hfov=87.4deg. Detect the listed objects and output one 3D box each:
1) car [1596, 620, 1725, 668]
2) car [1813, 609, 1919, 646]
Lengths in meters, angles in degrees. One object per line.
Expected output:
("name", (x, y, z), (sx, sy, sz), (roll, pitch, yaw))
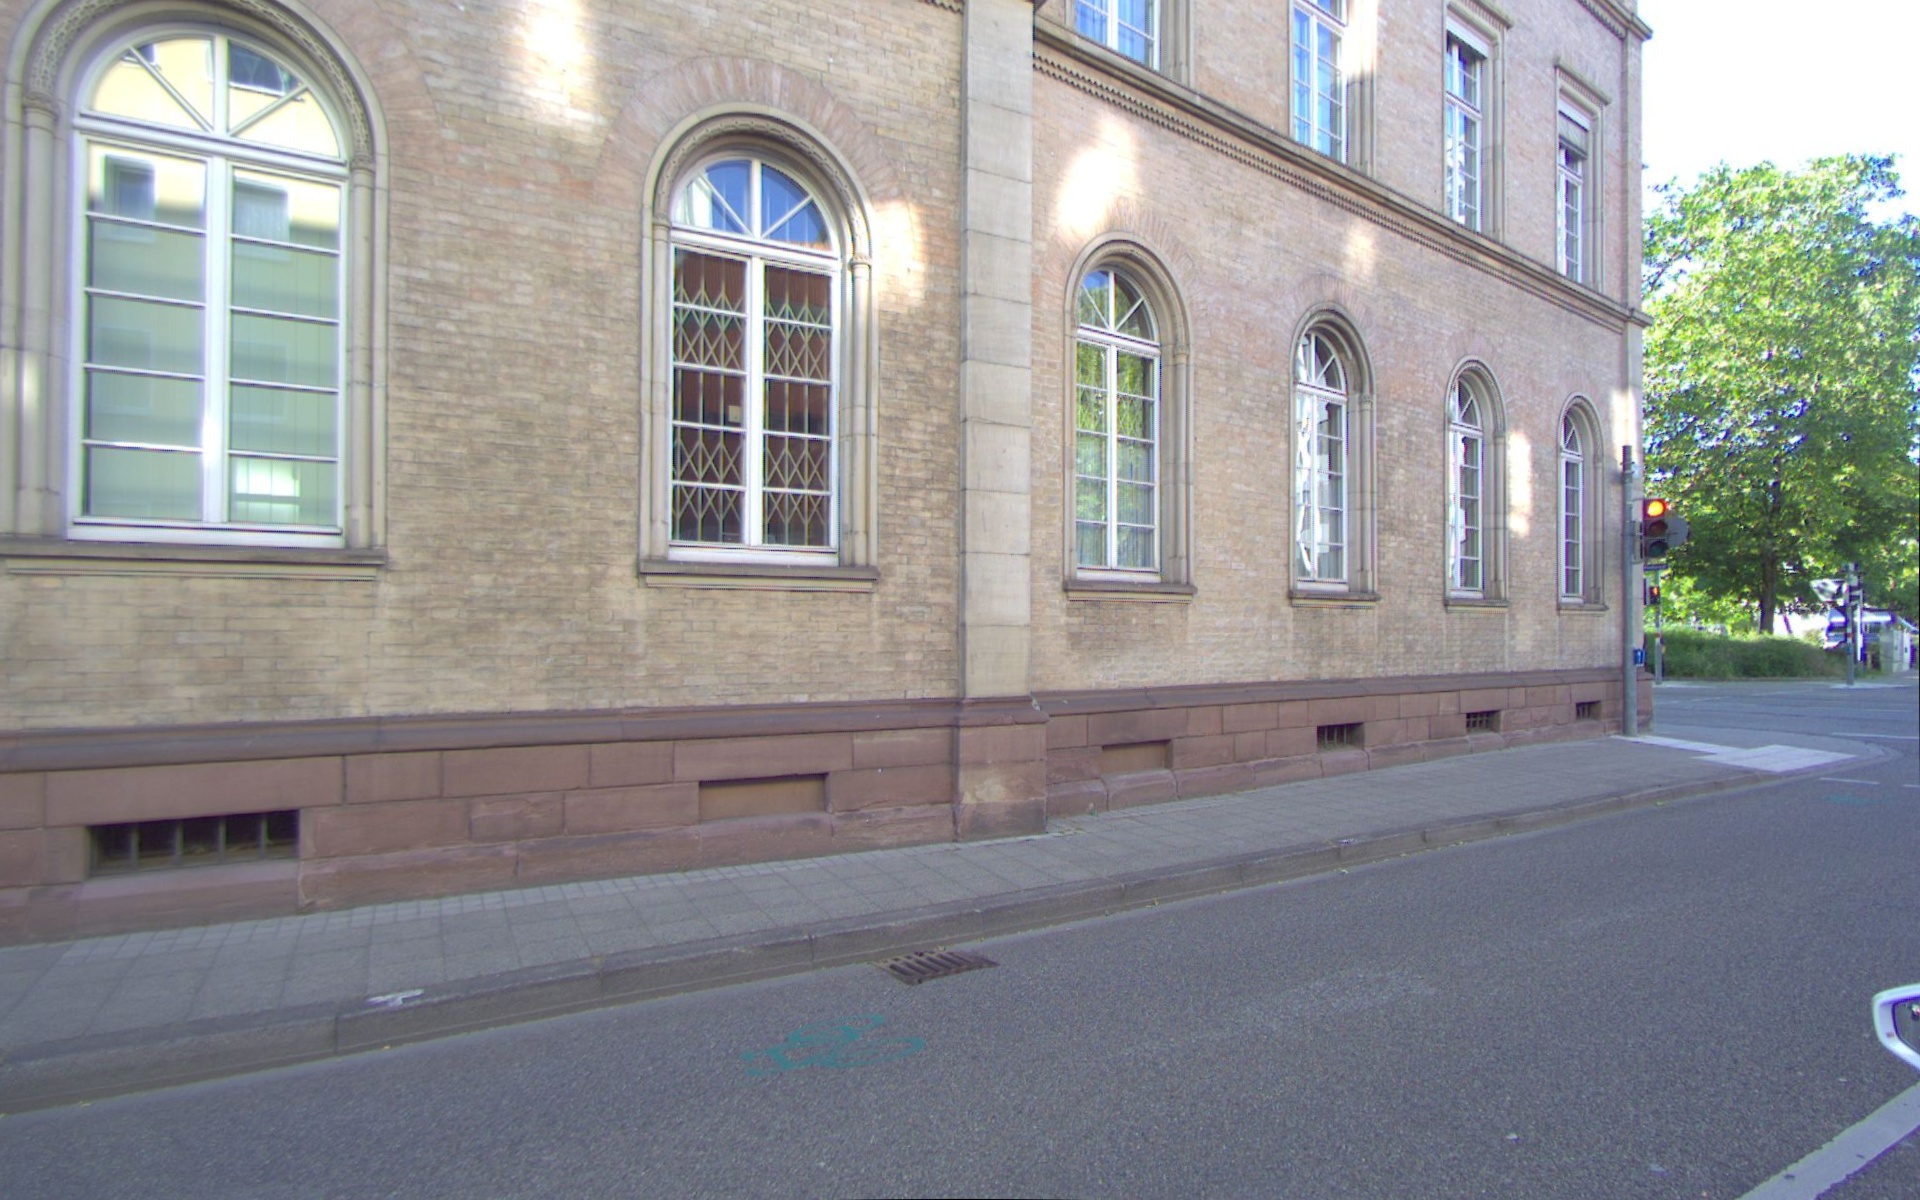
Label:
("car", (24.377, 1.514, 35.027), (1.636, 1.476, 3.382), (2, 0, -39))
("car", (53.501, 1.597, 59.386), (1.983, 2.040, 4.409), (2, 0, -38))
